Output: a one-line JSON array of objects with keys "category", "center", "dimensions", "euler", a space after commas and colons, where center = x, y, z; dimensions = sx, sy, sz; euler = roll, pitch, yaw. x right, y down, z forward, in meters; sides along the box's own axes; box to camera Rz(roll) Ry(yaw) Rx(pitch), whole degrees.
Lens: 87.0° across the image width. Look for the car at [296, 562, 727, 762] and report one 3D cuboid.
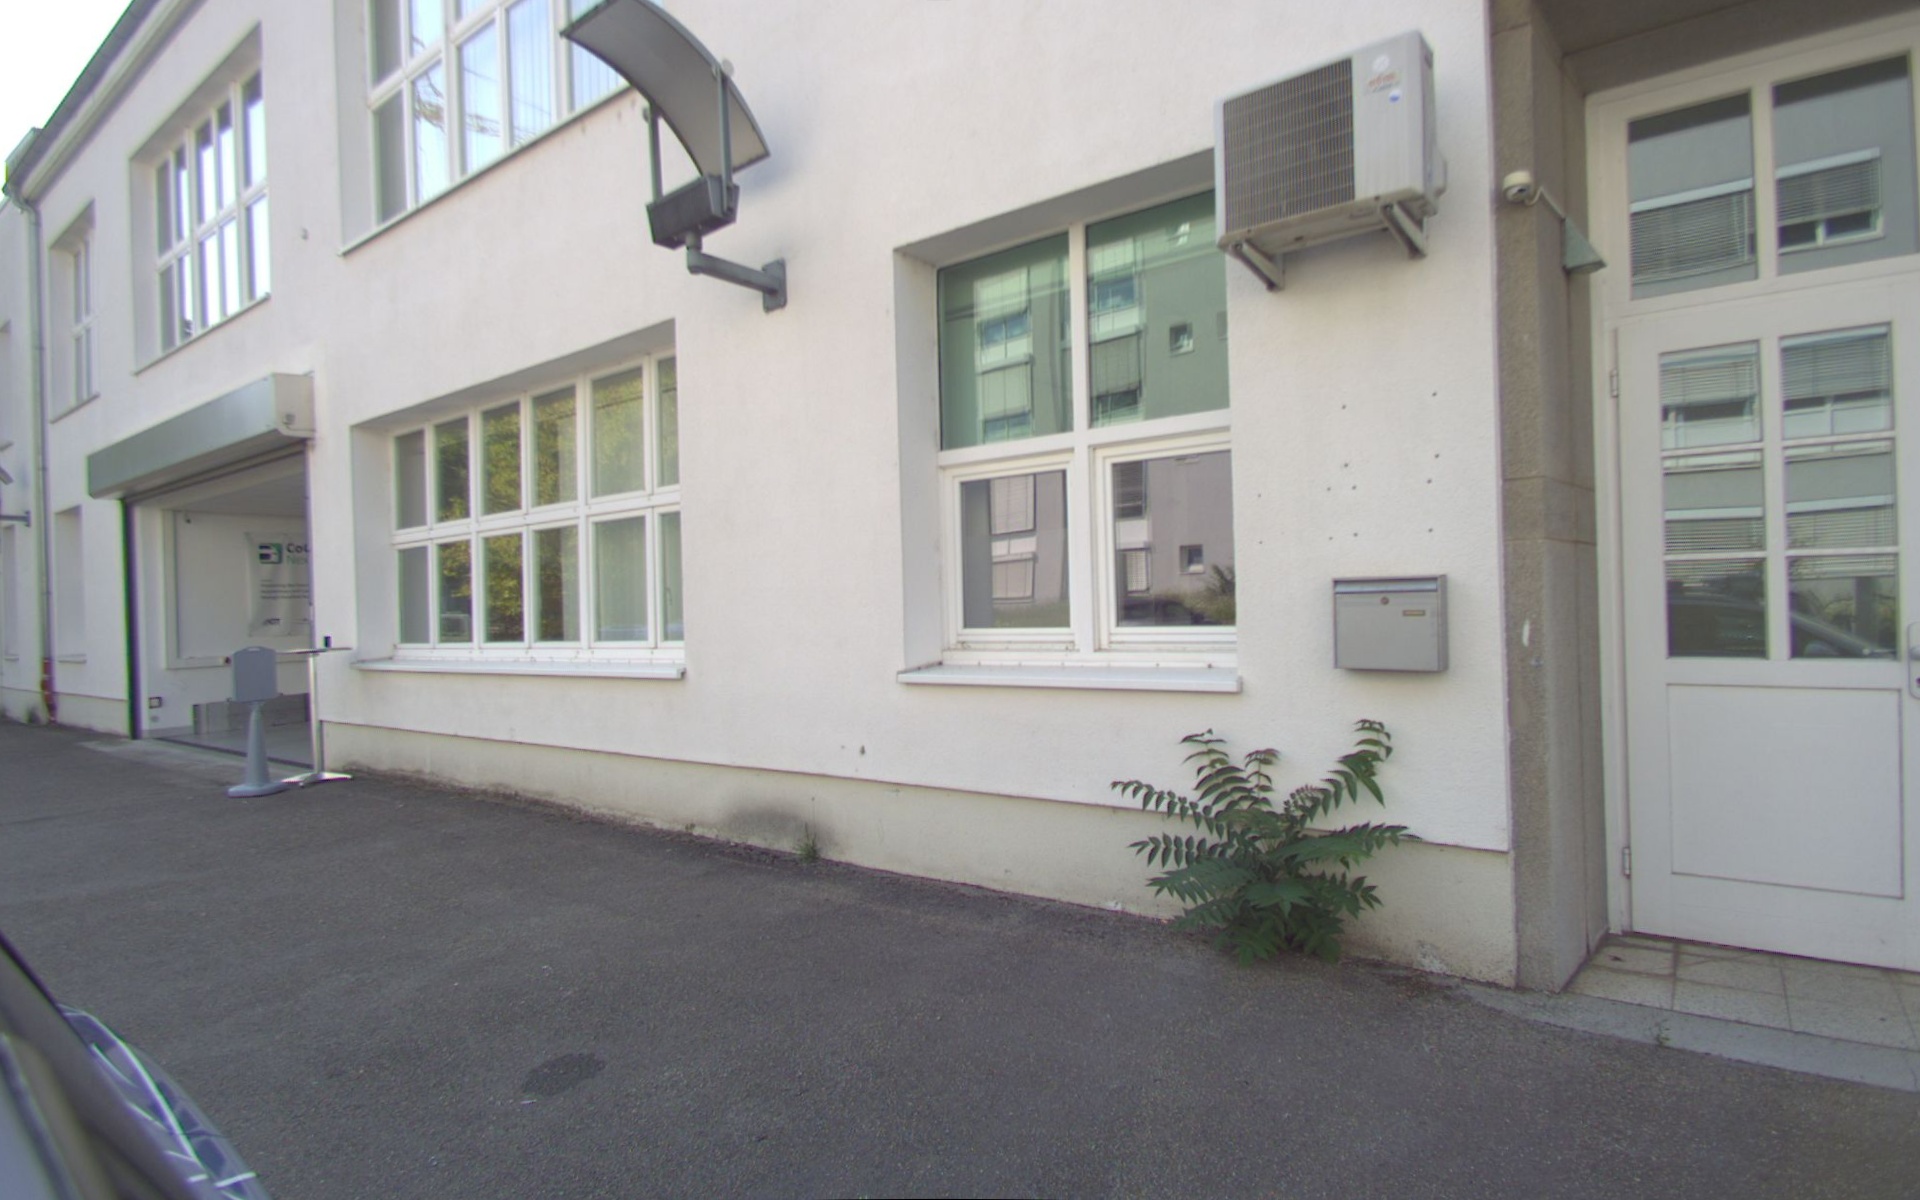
[{"category": "car", "center": [-5.586, 0.610, 13.190], "dimensions": [2.053, 2.108, 4.702], "euler": [-2, 1, 38]}]
